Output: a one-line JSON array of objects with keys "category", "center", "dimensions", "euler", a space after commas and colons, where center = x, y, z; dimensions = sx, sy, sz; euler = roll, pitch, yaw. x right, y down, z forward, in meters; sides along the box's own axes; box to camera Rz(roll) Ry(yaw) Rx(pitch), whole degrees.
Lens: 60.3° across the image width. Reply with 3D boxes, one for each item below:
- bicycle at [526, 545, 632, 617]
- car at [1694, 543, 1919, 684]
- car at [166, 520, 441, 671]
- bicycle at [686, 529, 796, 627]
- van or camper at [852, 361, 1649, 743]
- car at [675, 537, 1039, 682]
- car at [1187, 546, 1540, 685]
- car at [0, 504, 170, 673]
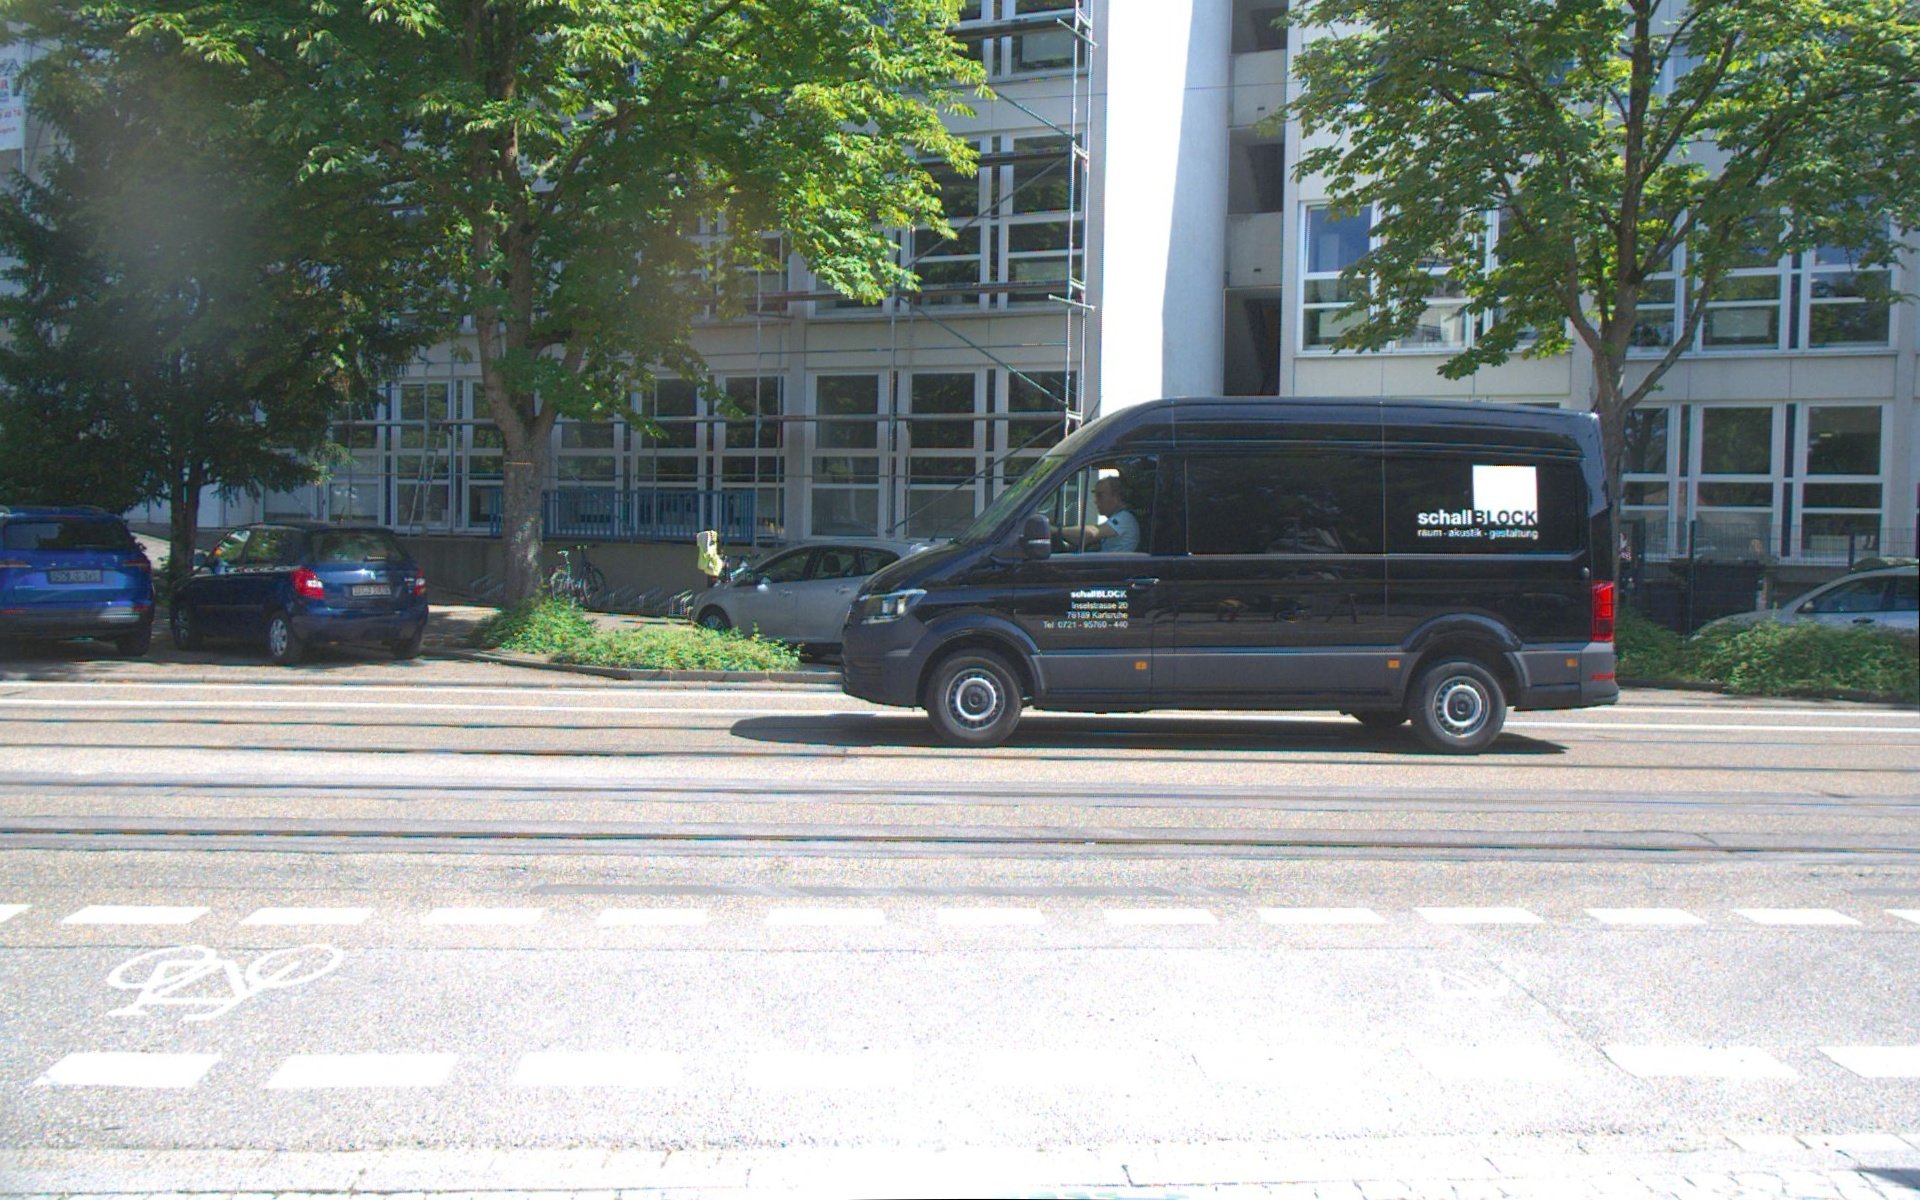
[{"category": "bicycle", "center": [-6.144, -0.326, 26.797], "dimensions": [0.725, 1.104, 2.205], "euler": [1, 2, 15]}, {"category": "car", "center": [11.465, 0.149, 20.261], "dimensions": [4.262, 1.632, 1.551], "euler": [2, 2, 39]}, {"category": "car", "center": [-7.501, -0.111, 18.783], "dimensions": [3.396, 1.557, 1.567], "euler": [2, 2, 42]}, {"category": "bicycle", "center": [-3.424, -0.370, 26.038], "dimensions": [0.648, 1.478, 2.088], "euler": [1, 2, 27]}, {"category": "van or camper", "center": [2.058, -0.352, 12.834], "dimensions": [5.726, 2.665, 2.050], "euler": [1, 2, -4]}, {"category": "car", "center": [-1.310, 0.030, 19.607], "dimensions": [4.356, 1.511, 1.774], "euler": [2, 3, 42]}, {"category": "car", "center": [4.785, 0.120, 19.933], "dimensions": [3.876, 1.512, 1.603], "euler": [1, 2, 43]}, {"category": "car", "center": [-10.488, -0.229, 18.602], "dimensions": [1.767, 1.650, 3.883], "euler": [-2, 5, -44]}]
